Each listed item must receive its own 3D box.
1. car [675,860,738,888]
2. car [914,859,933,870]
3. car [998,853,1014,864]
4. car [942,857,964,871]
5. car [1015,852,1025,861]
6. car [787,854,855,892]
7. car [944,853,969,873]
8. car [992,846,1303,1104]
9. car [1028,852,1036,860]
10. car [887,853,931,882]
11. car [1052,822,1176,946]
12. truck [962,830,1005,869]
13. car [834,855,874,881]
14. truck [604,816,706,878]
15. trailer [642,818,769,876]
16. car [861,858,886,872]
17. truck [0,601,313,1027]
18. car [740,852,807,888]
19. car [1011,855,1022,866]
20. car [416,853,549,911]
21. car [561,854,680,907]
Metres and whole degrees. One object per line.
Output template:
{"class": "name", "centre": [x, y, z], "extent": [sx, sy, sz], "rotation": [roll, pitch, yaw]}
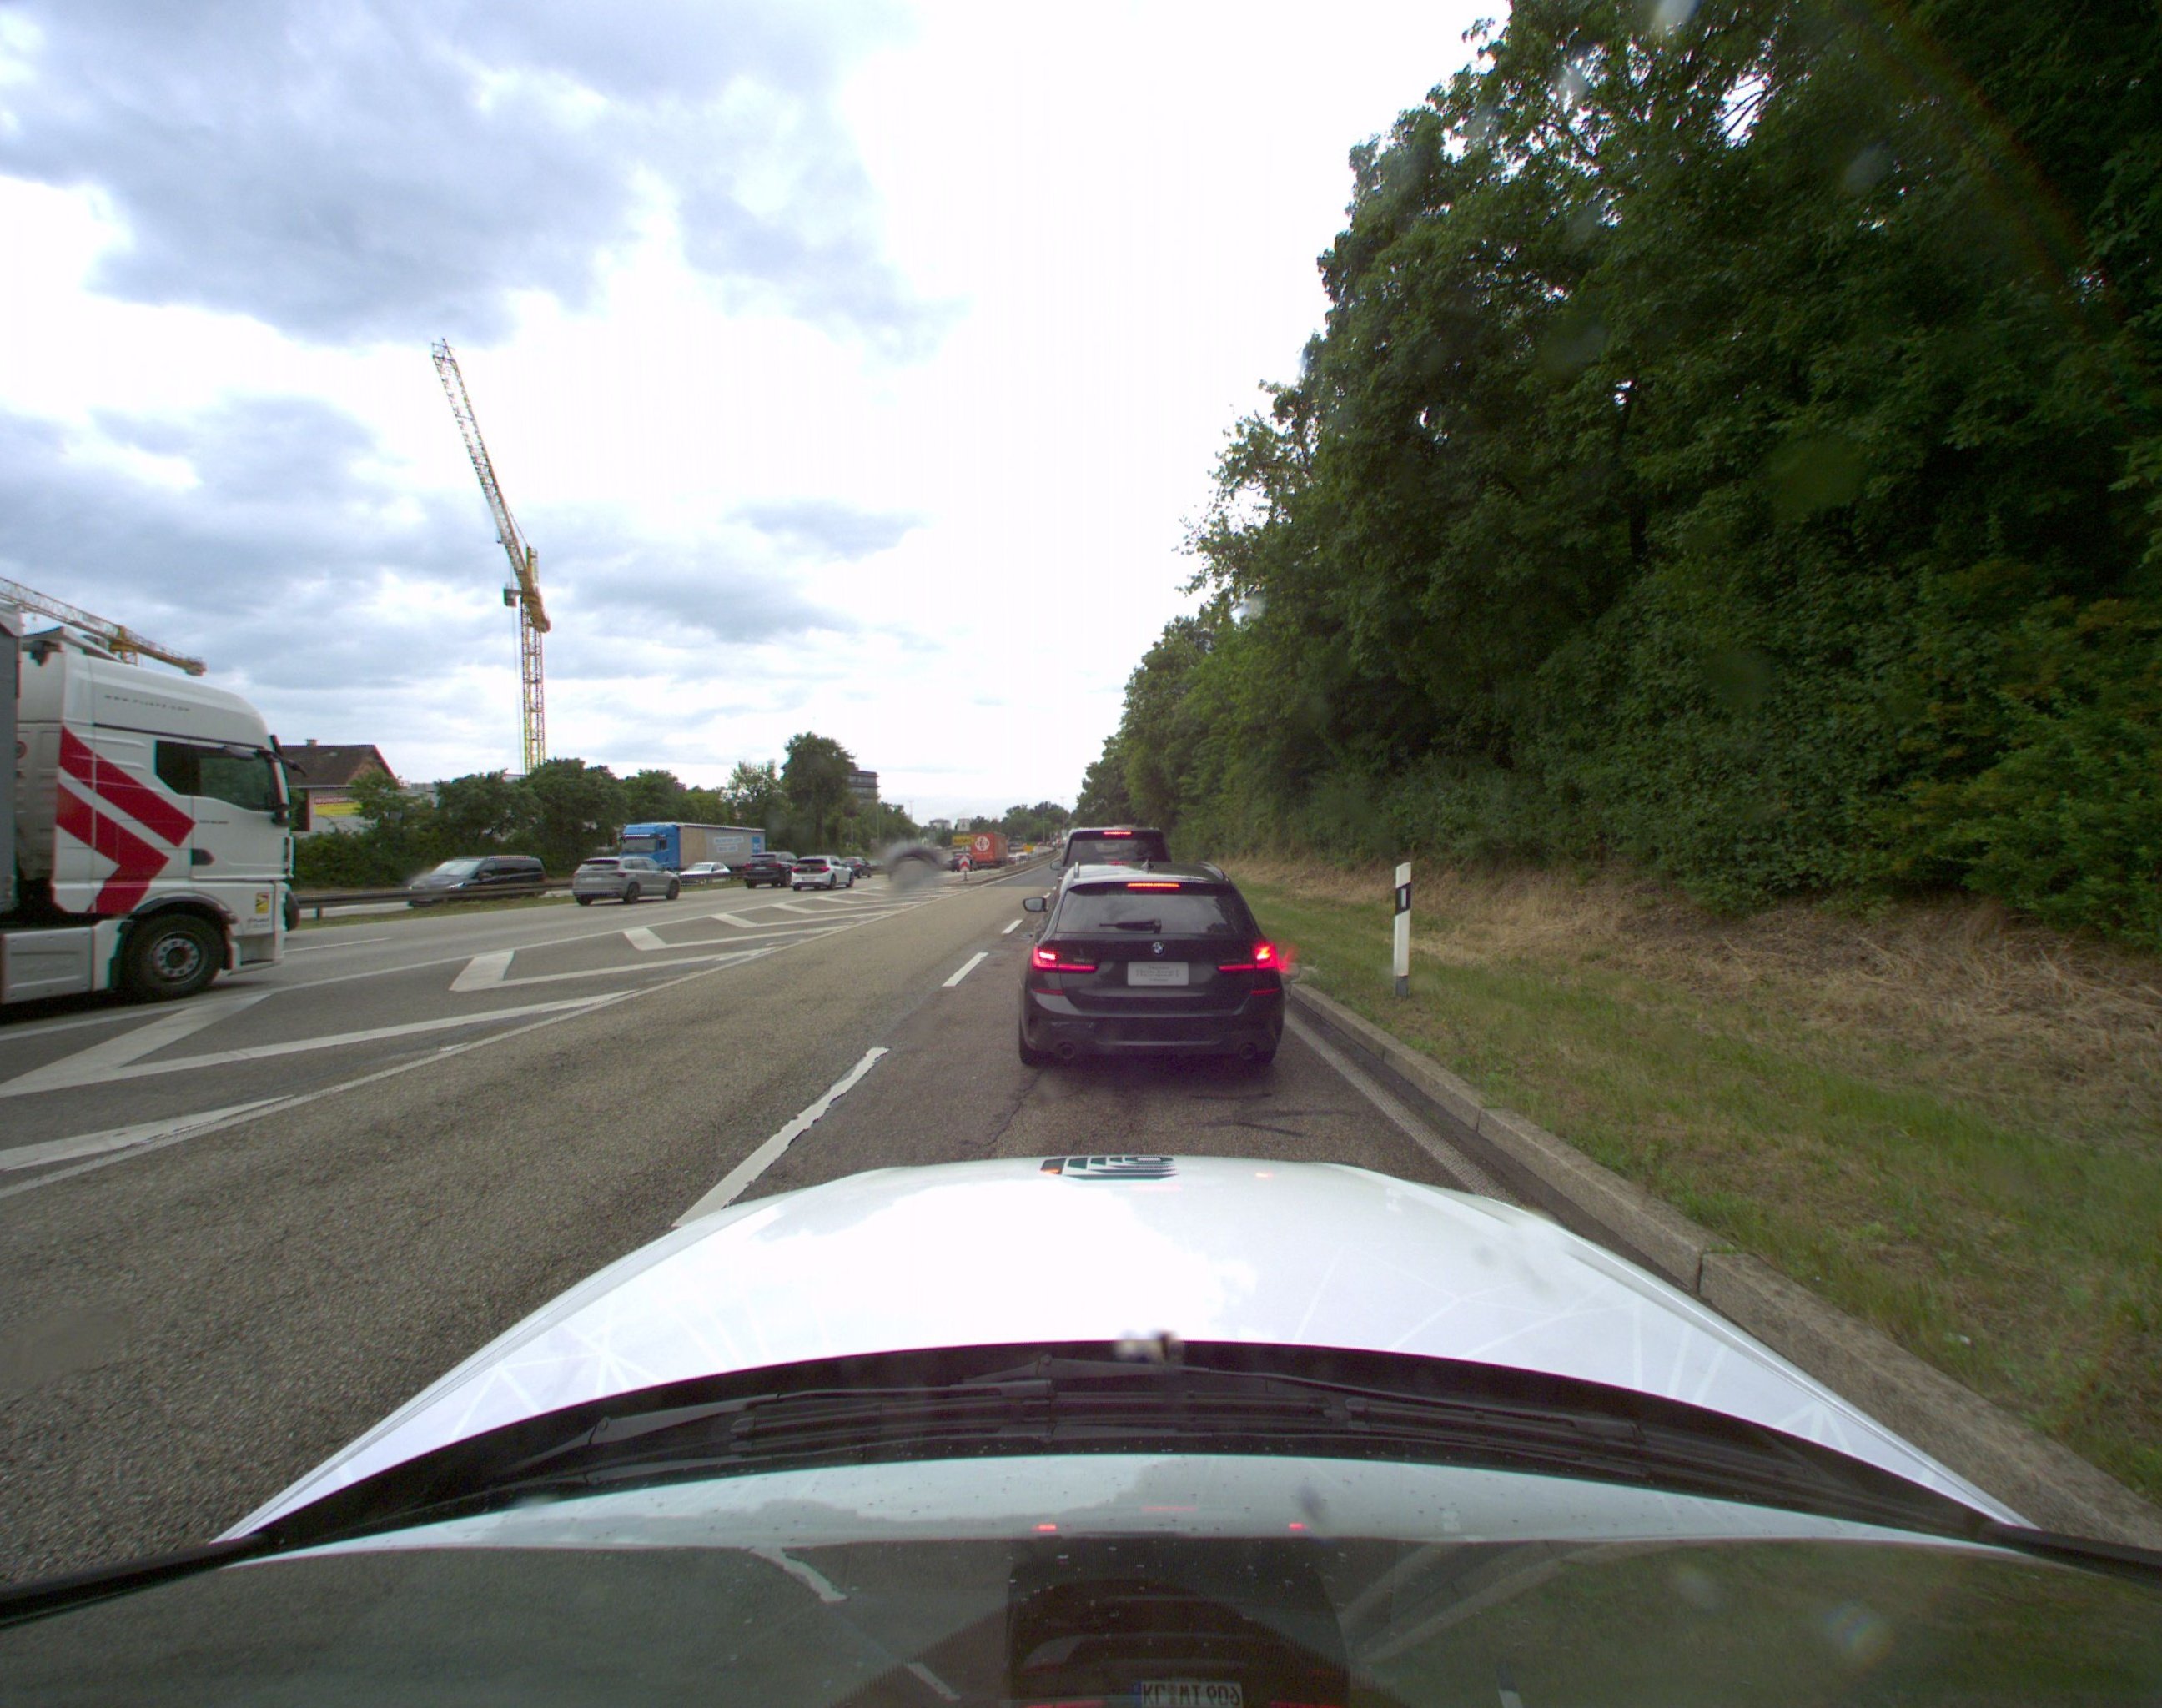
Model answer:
{"class": "car", "centre": [-22.819, 1.168, 49.821], "extent": [1.887, 1.574, 3.928], "rotation": [-1, 0, 2]}
{"class": "car", "centre": [-24.611, 1.601, 127.171], "extent": [1.986, 1.607, 4.001], "rotation": [-1, 0, 1]}
{"class": "car", "centre": [-10.392, 0.652, 113.164], "extent": [1.772, 1.482, 3.999], "rotation": [-1, 0, 0]}
{"class": "car", "centre": [-14.735, 1.145, 93.933], "extent": [1.853, 1.618, 3.999], "rotation": [0, -1, 0]}
{"class": "car", "centre": [-10.508, 0.441, 139.574], "extent": [1.552, 1.552, 3.997], "rotation": [0, -1, -2]}
{"class": "car", "centre": [-11.705, 0.834, 36.943], "extent": [1.794, 1.604, 4.256], "rotation": [0, -1, -1]}
{"class": "car", "centre": [-11.620, 0.880, 76.300], "extent": [1.855, 1.816, 3.998], "rotation": [0, -1, -1]}
{"class": "car", "centre": [0.406, 0.713, 6.882], "extent": [1.819, 1.482, 4.000], "rotation": [-2, 0, 0]}
{"class": "car", "centre": [-9.713, 0.455, 161.775], "extent": [1.552, 1.552, 3.997], "rotation": [0, -1, -2]}
{"class": "car", "centre": [-10.303, 0.785, 49.014], "extent": [1.787, 1.640, 3.998], "rotation": [-1, 0, -1]}
{"class": "car", "centre": [0.538, 0.459, 14.002], "extent": [1.816, 1.822, 4.001], "rotation": [0, -1, 1]}
{"class": "truck", "centre": [-10.960, -0.503, 93.113], "extent": [3.480, 4.073, 13.583], "rotation": [-2, 0, -2]}
{"class": "car", "centre": [-15.517, 0.924, 55.888], "extent": [1.712, 1.716, 3.998], "rotation": [0, -1, -1]}
{"class": "truck", "centre": [-26.848, -0.385, 51.699], "extent": [2.761, 3.710, 6.640], "rotation": [0, -1, 2]}
{"class": "trailer", "centre": [-26.679, -0.371, 58.979], "extent": [2.676, 3.703, 13.264], "rotation": [0, -1, 2]}
{"class": "car", "centre": [-25.844, 1.391, 101.515], "extent": [1.986, 1.607, 4.001], "rotation": [-1, 0, 1]}
{"class": "truck", "centre": [-11.578, -0.366, 7.092], "extent": [3.191, 3.947, 7.067], "rotation": [0, -1, -2]}
{"class": "car", "centre": [-15.246, 0.773, 40.607], "extent": [1.869, 1.716, 3.998], "rotation": [0, -1, -1]}
{"class": "car", "centre": [-9.845, 0.990, 124.888], "extent": [1.552, 1.552, 3.815], "rotation": [0, -1, -2]}
{"class": "car", "centre": [-22.693, 1.014, 31.094], "extent": [1.986, 2.013, 4.002], "rotation": [-1, 0, 2]}
{"class": "car", "centre": [-15.573, 0.852, 27.794], "extent": [1.723, 1.601, 3.929], "rotation": [-1, 0, 1]}
